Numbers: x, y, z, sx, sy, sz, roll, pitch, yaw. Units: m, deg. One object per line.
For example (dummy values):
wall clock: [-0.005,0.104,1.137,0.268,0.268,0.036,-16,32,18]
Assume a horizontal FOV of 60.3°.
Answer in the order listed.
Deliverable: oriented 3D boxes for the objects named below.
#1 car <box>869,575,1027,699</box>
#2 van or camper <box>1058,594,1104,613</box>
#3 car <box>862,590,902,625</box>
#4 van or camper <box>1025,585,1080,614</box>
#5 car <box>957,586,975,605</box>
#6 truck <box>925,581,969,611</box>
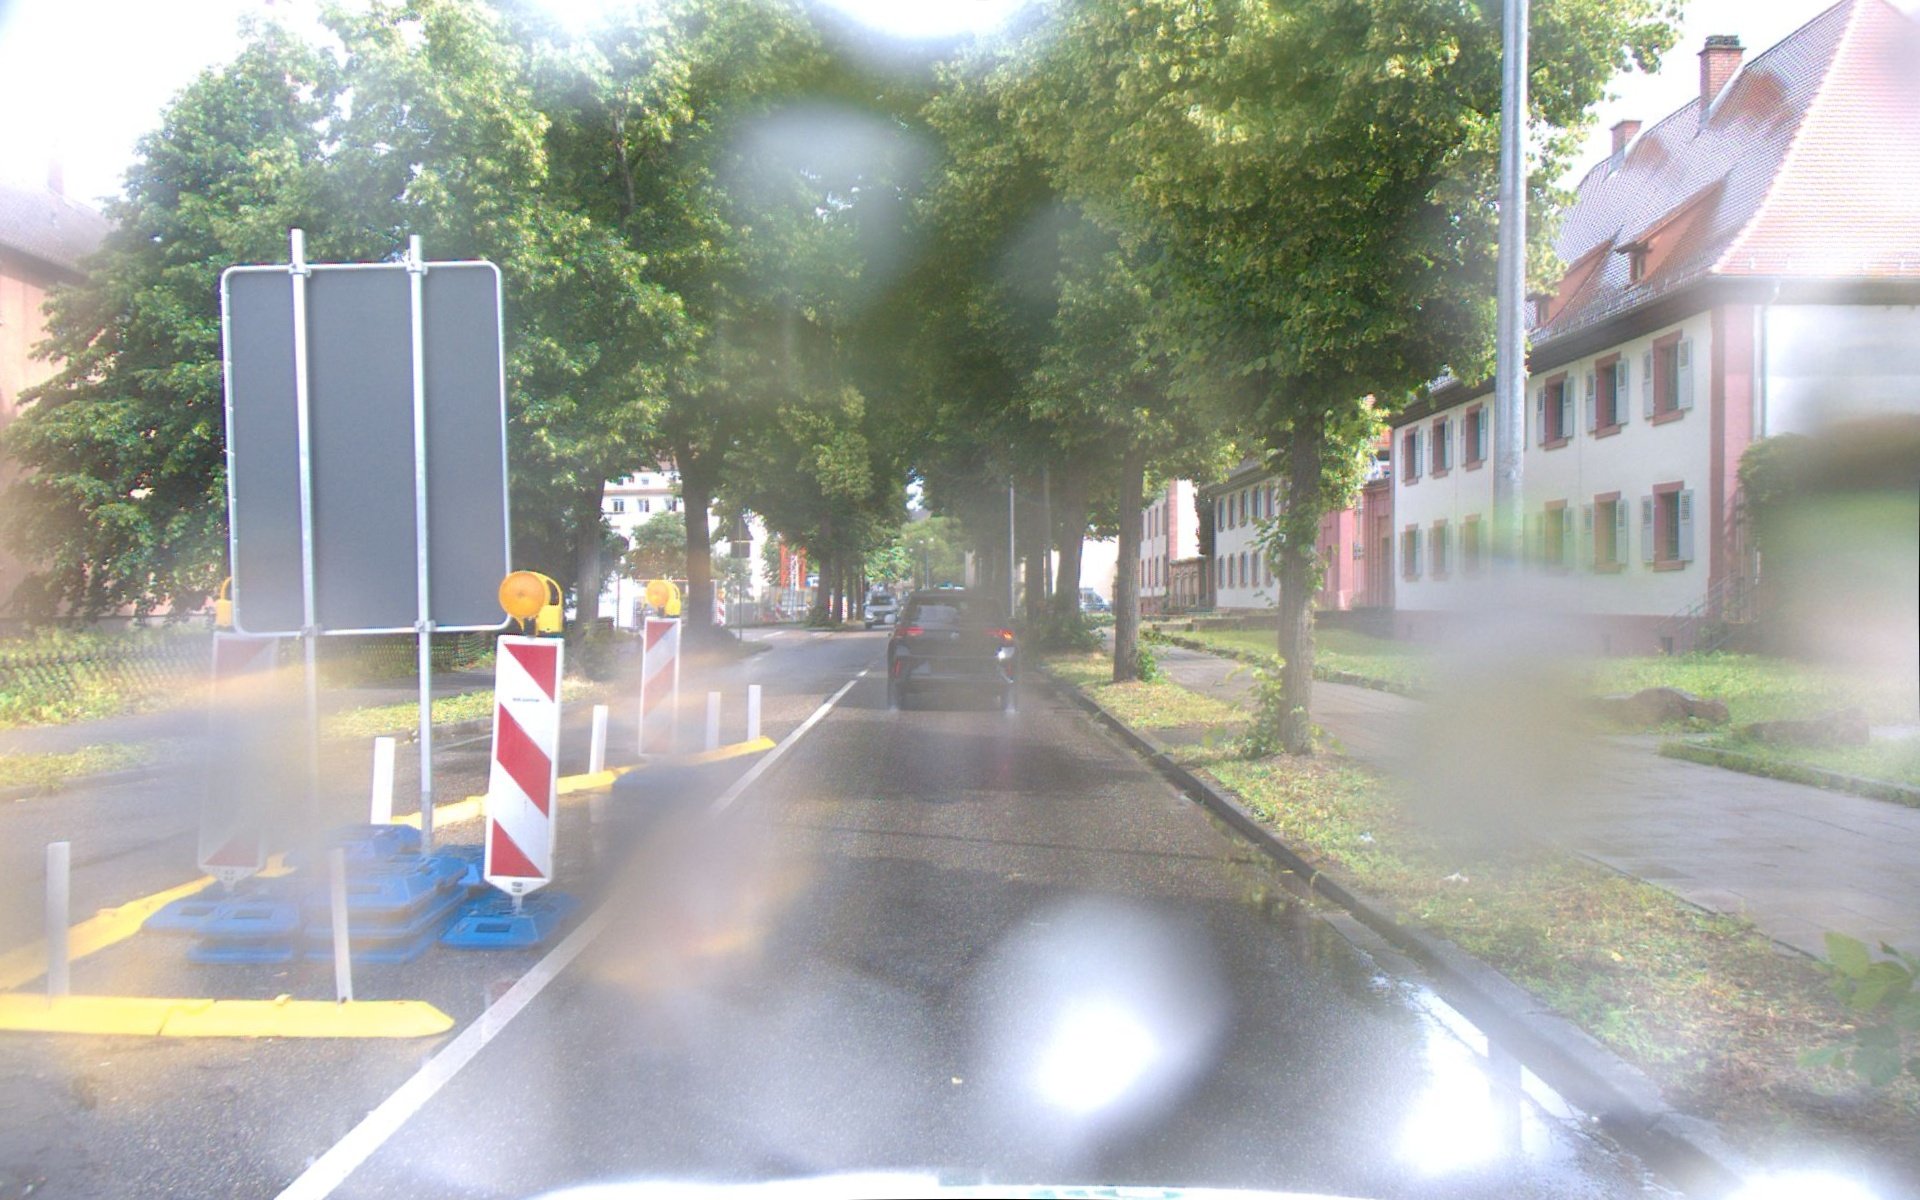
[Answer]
car: [-0.256,0.477,22.894,1.858,1.549,3.995,0,0,-5]
van or camper: [12.768,0.411,174.543,4.775,1.959,2.131,0,0,0]
car: [-4.013,0.390,85.319,1.848,1.743,4.229,-1,0,0]
van or camper: [8.743,-0.012,156.745,4.931,2.641,2.167,-1,-1,-2]
car: [0.718,-0.534,202.629,1.952,2.049,4.001,0,-5,4]
truck: [-1.222,-0.386,153.280,2.754,2.703,8.221,0,1,-10]
